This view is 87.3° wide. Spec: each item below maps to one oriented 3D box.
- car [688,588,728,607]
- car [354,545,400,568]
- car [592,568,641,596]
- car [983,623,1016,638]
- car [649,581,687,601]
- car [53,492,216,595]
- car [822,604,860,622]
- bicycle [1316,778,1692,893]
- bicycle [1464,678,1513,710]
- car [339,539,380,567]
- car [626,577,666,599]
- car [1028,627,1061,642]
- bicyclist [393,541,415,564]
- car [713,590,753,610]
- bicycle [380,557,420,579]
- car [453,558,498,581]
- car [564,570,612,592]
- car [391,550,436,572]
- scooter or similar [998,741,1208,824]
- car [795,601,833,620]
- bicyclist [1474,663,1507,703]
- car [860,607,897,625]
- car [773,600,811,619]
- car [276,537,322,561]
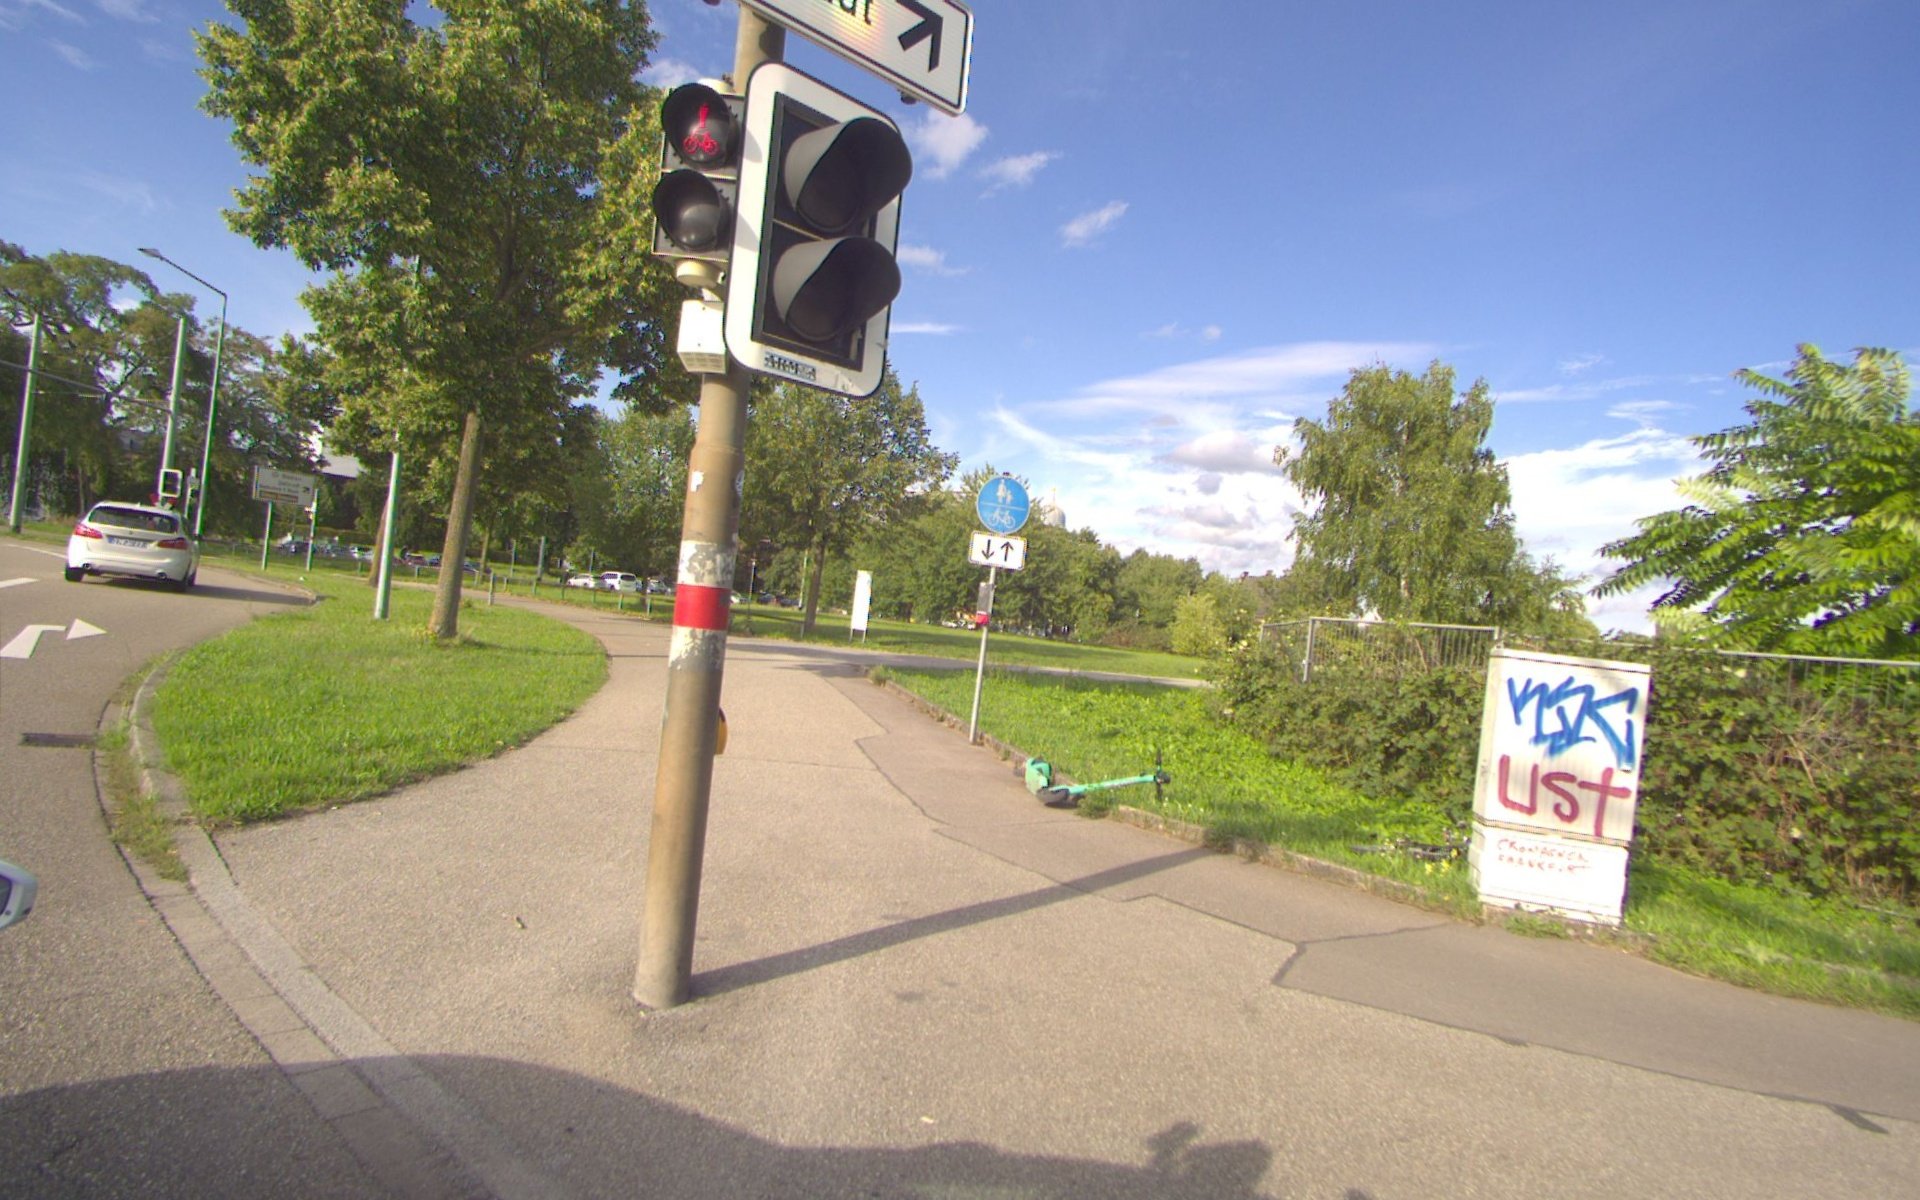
[{"bbox_3d":[-24.588,-0.282,98.025,1.848,1.415,4.418,7,-1,-41],"label":"car"},{"bbox_3d":[-44.632,-3.329,77.010,1.850,1.374,4.773,7,-1,-44],"label":"car"},{"bbox_3d":[-31.085,-1.665,90.959,2.301,2.032,5.054,7,-1,-41],"label":"car"},{"bbox_3d":[5.016,3.899,129.241,1.842,1.559,4.429,7,-1,-34],"label":"car"},{"bbox_3d":[-27.502,-0.839,94.763,2.019,1.534,4.072,7,-1,-37],"label":"car"},{"bbox_3d":[-16.307,-1.072,20.112,1.838,1.590,4.418,8,-2,-32],"label":"car"},{"bbox_3d":[-13.075,1.411,110.384,1.846,1.471,4.418,7,-1,-41],"label":"car"},{"bbox_3d":[3.739,1.624,6.964,2.220,0.350,1.086,10,-2,-20],"label":"bicycle"},{"bbox_3d":[22.327,3.973,42.483,2.581,1.139,0.795,7,-1,-40],"label":"bicycle"},{"bbox_3d":[-51.585,-4.021,86.385,1.866,2.036,4.755,9,-4,-42],"label":"car"},{"bbox_3d":[-29.121,-1.145,93.292,2.085,1.694,4.425,7,-1,-37],"label":"car"},{"bbox_3d":[11.280,4.560,134.544,1.842,1.559,4.429,7,-1,-34],"label":"car"},{"bbox_3d":[-37.220,-3.171,67.386,0.700,1.372,1.006,6,0,14],"label":"bicyclist"},{"bbox_3d":[-22.545,-0.043,99.817,1.848,1.523,4.418,7,-1,-41],"label":"car"},{"bbox_3d":[-37.396,-2.108,67.273,0.700,1.237,2.530,6,-1,14],"label":"bicycle"},{"bbox_3d":[-39.586,-2.494,82.178,1.850,1.534,4.413,7,-1,-44],"label":"car"},{"bbox_3d":[-32.822,-1.680,88.767,4.403,1.534,1.854,6,-1,38],"label":"car"},{"bbox_3d":[-42.787,-3.075,78.748,1.850,1.379,4.413,7,-1,-44],"label":"car"},{"bbox_3d":[1.103,1.466,8.229,1.271,0.284,1.551,7,-1,-10],"label":"scooter or similar"},{"bbox_3d":[-15.583,1.146,107.389,1.846,1.560,4.418,7,-1,-41],"label":"car"},{"bbox_3d":[22.391,3.502,42.472,0.898,1.566,0.795,6,0,-40],"label":"bicyclist"},{"bbox_3d":[-9.312,1.763,114.247,1.846,1.560,4.418,7,-1,-41],"label":"car"},{"bbox_3d":[-17.698,0.992,105.848,1.790,1.534,4.418,7,-1,-41],"label":"car"},{"bbox_3d":[-47.927,-3.697,72.880,1.850,1.376,4.674,7,-1,-44],"label":"car"}]
